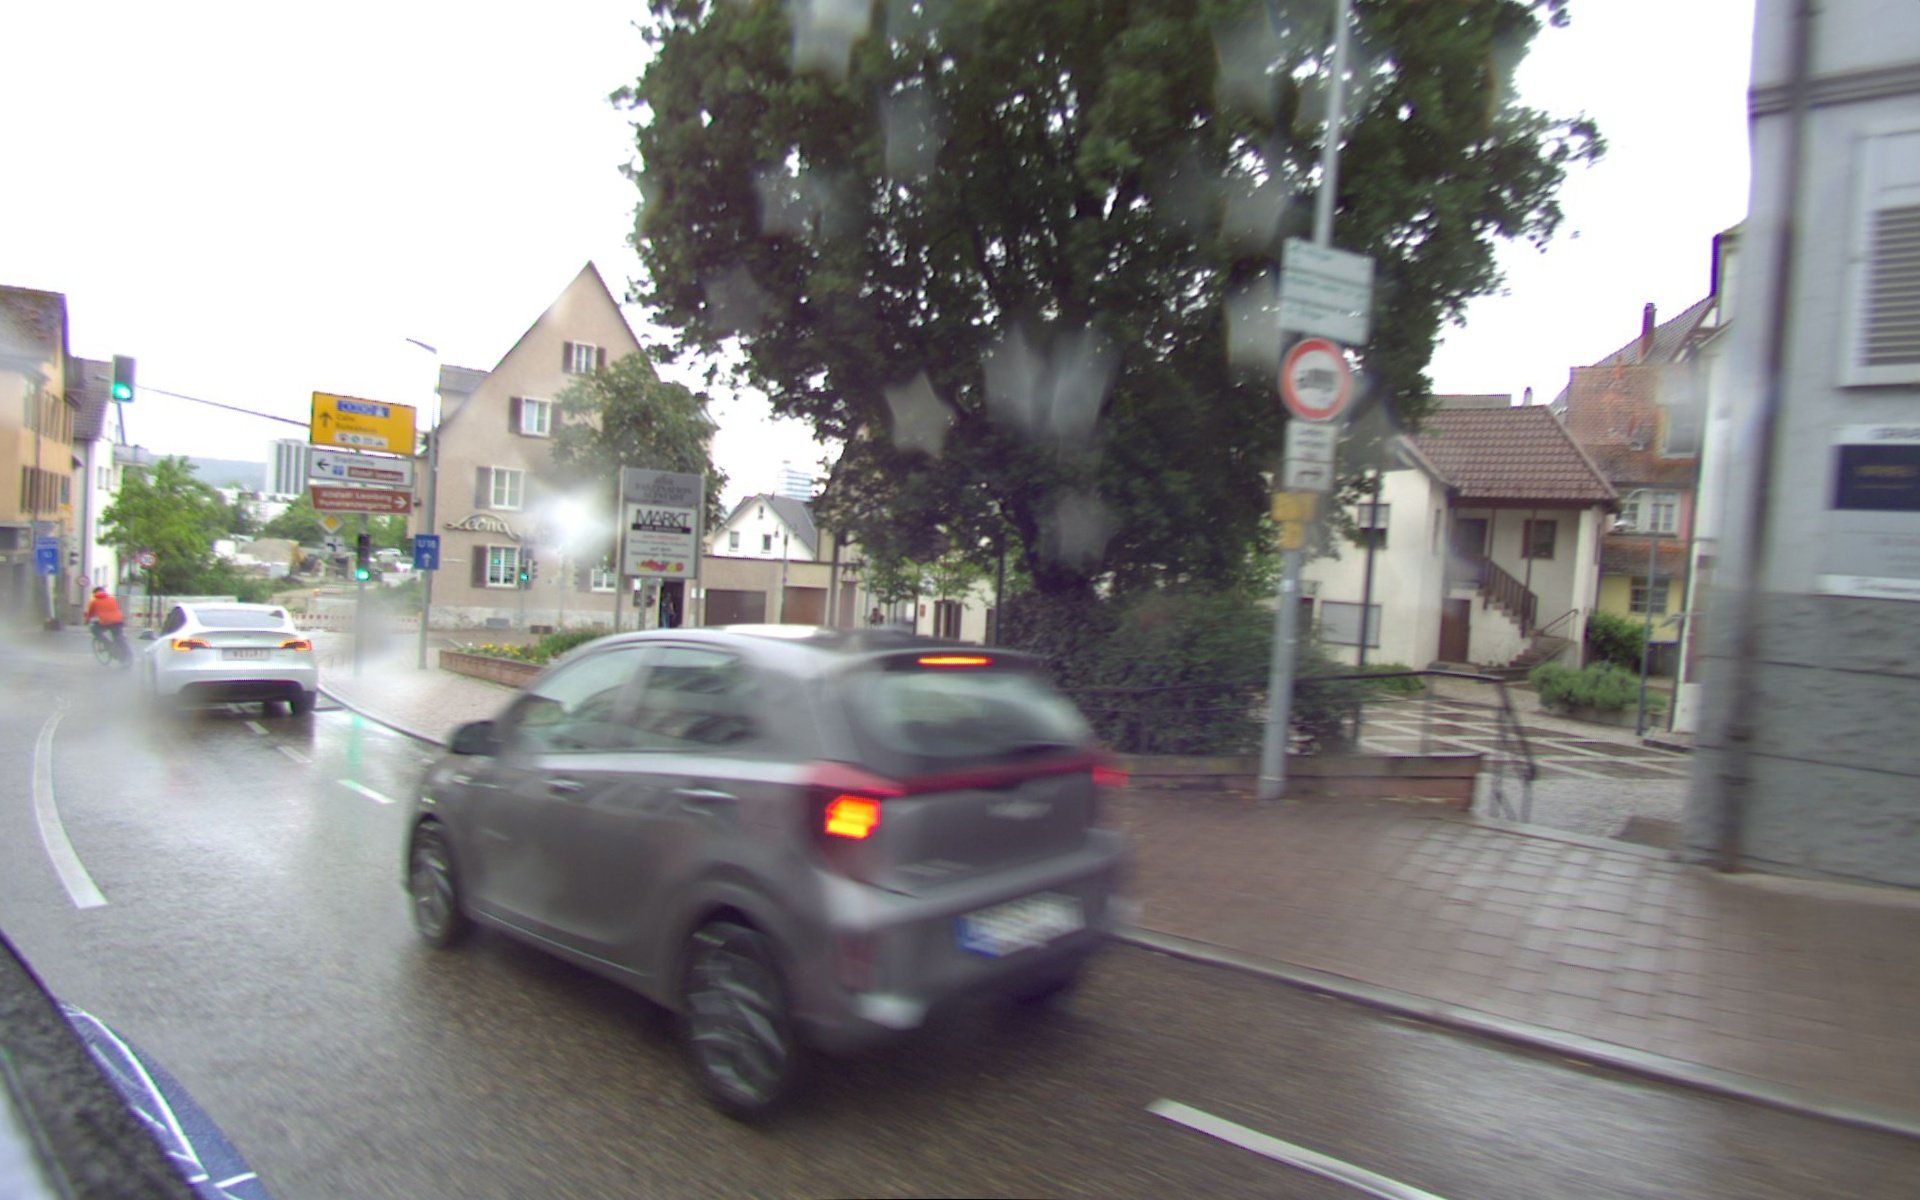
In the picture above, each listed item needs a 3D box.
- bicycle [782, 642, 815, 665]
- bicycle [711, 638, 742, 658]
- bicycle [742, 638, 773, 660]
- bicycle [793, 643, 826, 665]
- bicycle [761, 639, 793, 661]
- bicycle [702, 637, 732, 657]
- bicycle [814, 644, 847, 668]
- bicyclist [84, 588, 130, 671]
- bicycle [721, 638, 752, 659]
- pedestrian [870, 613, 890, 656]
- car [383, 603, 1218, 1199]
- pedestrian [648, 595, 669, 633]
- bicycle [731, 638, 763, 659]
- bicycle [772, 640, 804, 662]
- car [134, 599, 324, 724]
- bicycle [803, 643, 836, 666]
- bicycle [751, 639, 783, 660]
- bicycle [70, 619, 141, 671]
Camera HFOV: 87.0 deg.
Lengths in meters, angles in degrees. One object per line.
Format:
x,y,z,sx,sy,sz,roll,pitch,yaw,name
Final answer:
-4.608,1.521,28.868,0.407,0.610,0.842,0,-2,41,bicycle
-7.136,1.460,30.973,0.407,0.610,0.842,0,-2,41,bicycle
-6.014,1.454,30.053,0.407,0.610,0.842,0,-2,41,bicycle
-4.248,1.520,28.533,0.407,0.610,0.842,0,-2,41,bicycle
-5.318,1.447,29.434,0.407,0.610,0.842,0,-2,41,bicycle
-7.516,1.455,31.307,0.407,0.610,0.842,0,-2,41,bicycle
-3.568,1.539,27.872,0.407,0.610,0.842,0,-2,41,bicycle
-20.476,0.685,24.290,0.568,1.948,0.684,0,0,32,bicyclist
-6.772,1.458,30.674,0.407,0.610,0.842,0,-2,41,bicycle
-3.853,1.635,48.553,0.665,2.029,0.709,2,-2,-36,pedestrian
-0.926,0.800,4.244,3.586,1.483,1.590,-1,-3,43,car
-13.509,0.632,45.407,0.695,1.723,0.678,2,-2,-34,pedestrian
-6.392,1.456,30.369,0.407,0.610,0.842,0,-2,41,bicycle
-4.964,1.455,29.170,0.407,0.610,0.842,0,-2,41,bicycle
-11.236,0.848,15.425,1.938,1.620,4.390,3,-2,-41,car
-3.910,1.520,28.174,0.407,0.610,0.842,0,-2,41,bicycle
-5.666,1.452,29.744,0.407,0.610,0.842,0,-2,41,bicycle
-20.579,1.069,24.362,2.128,1.190,0.659,0,0,31,bicycle
